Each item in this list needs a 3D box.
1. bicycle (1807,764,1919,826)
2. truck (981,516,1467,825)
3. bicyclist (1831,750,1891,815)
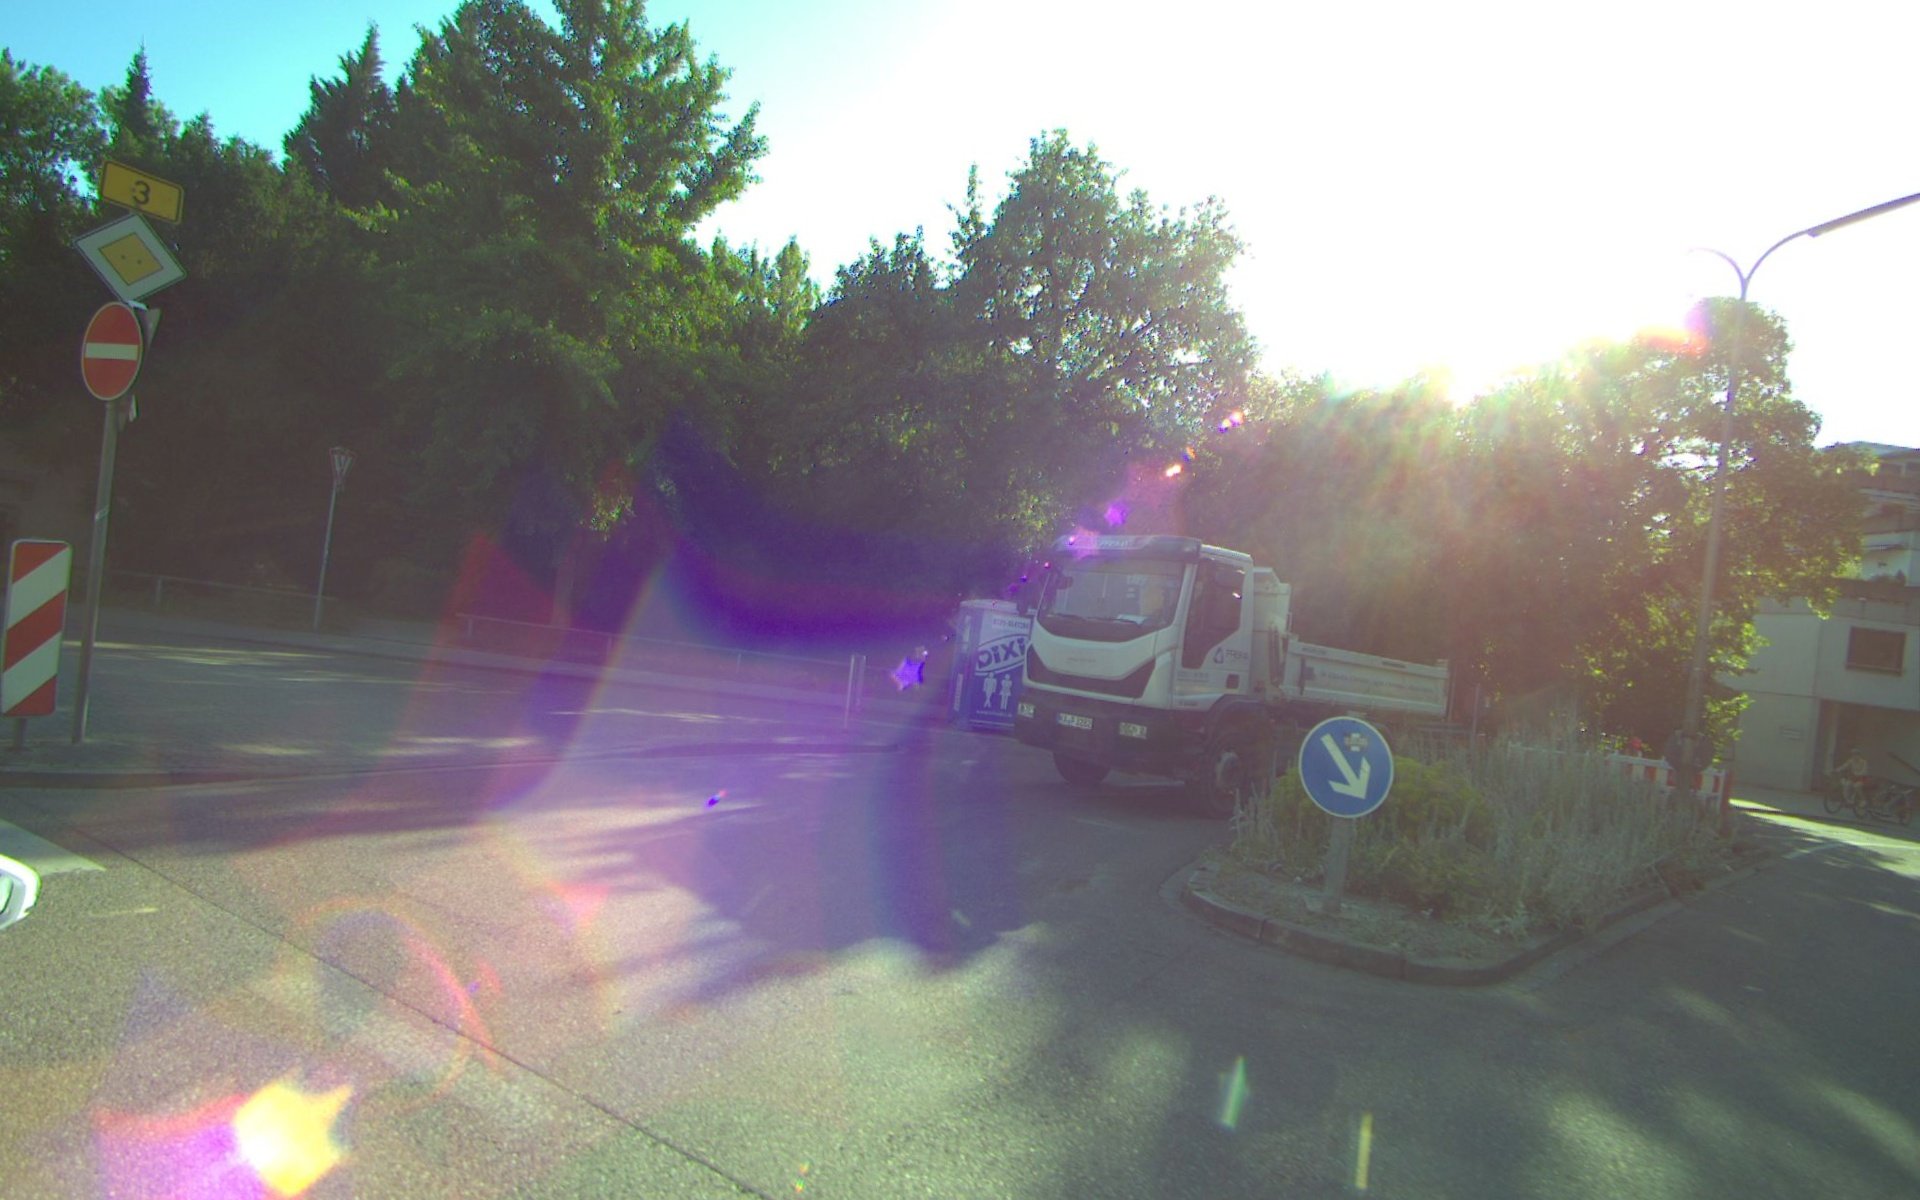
[{"bbox_3d":[24.154,5.203,26.824,2.798,1.223,0.760,8,3,-14],"label":"bicycle"},{"bbox_3d":[3.613,1.015,12.565,6.568,2.927,2.405,10,-2,-42],"label":"truck"},{"bbox_3d":[23.949,4.839,26.747,0.634,1.505,0.757,8,3,-14],"label":"bicyclist"}]
